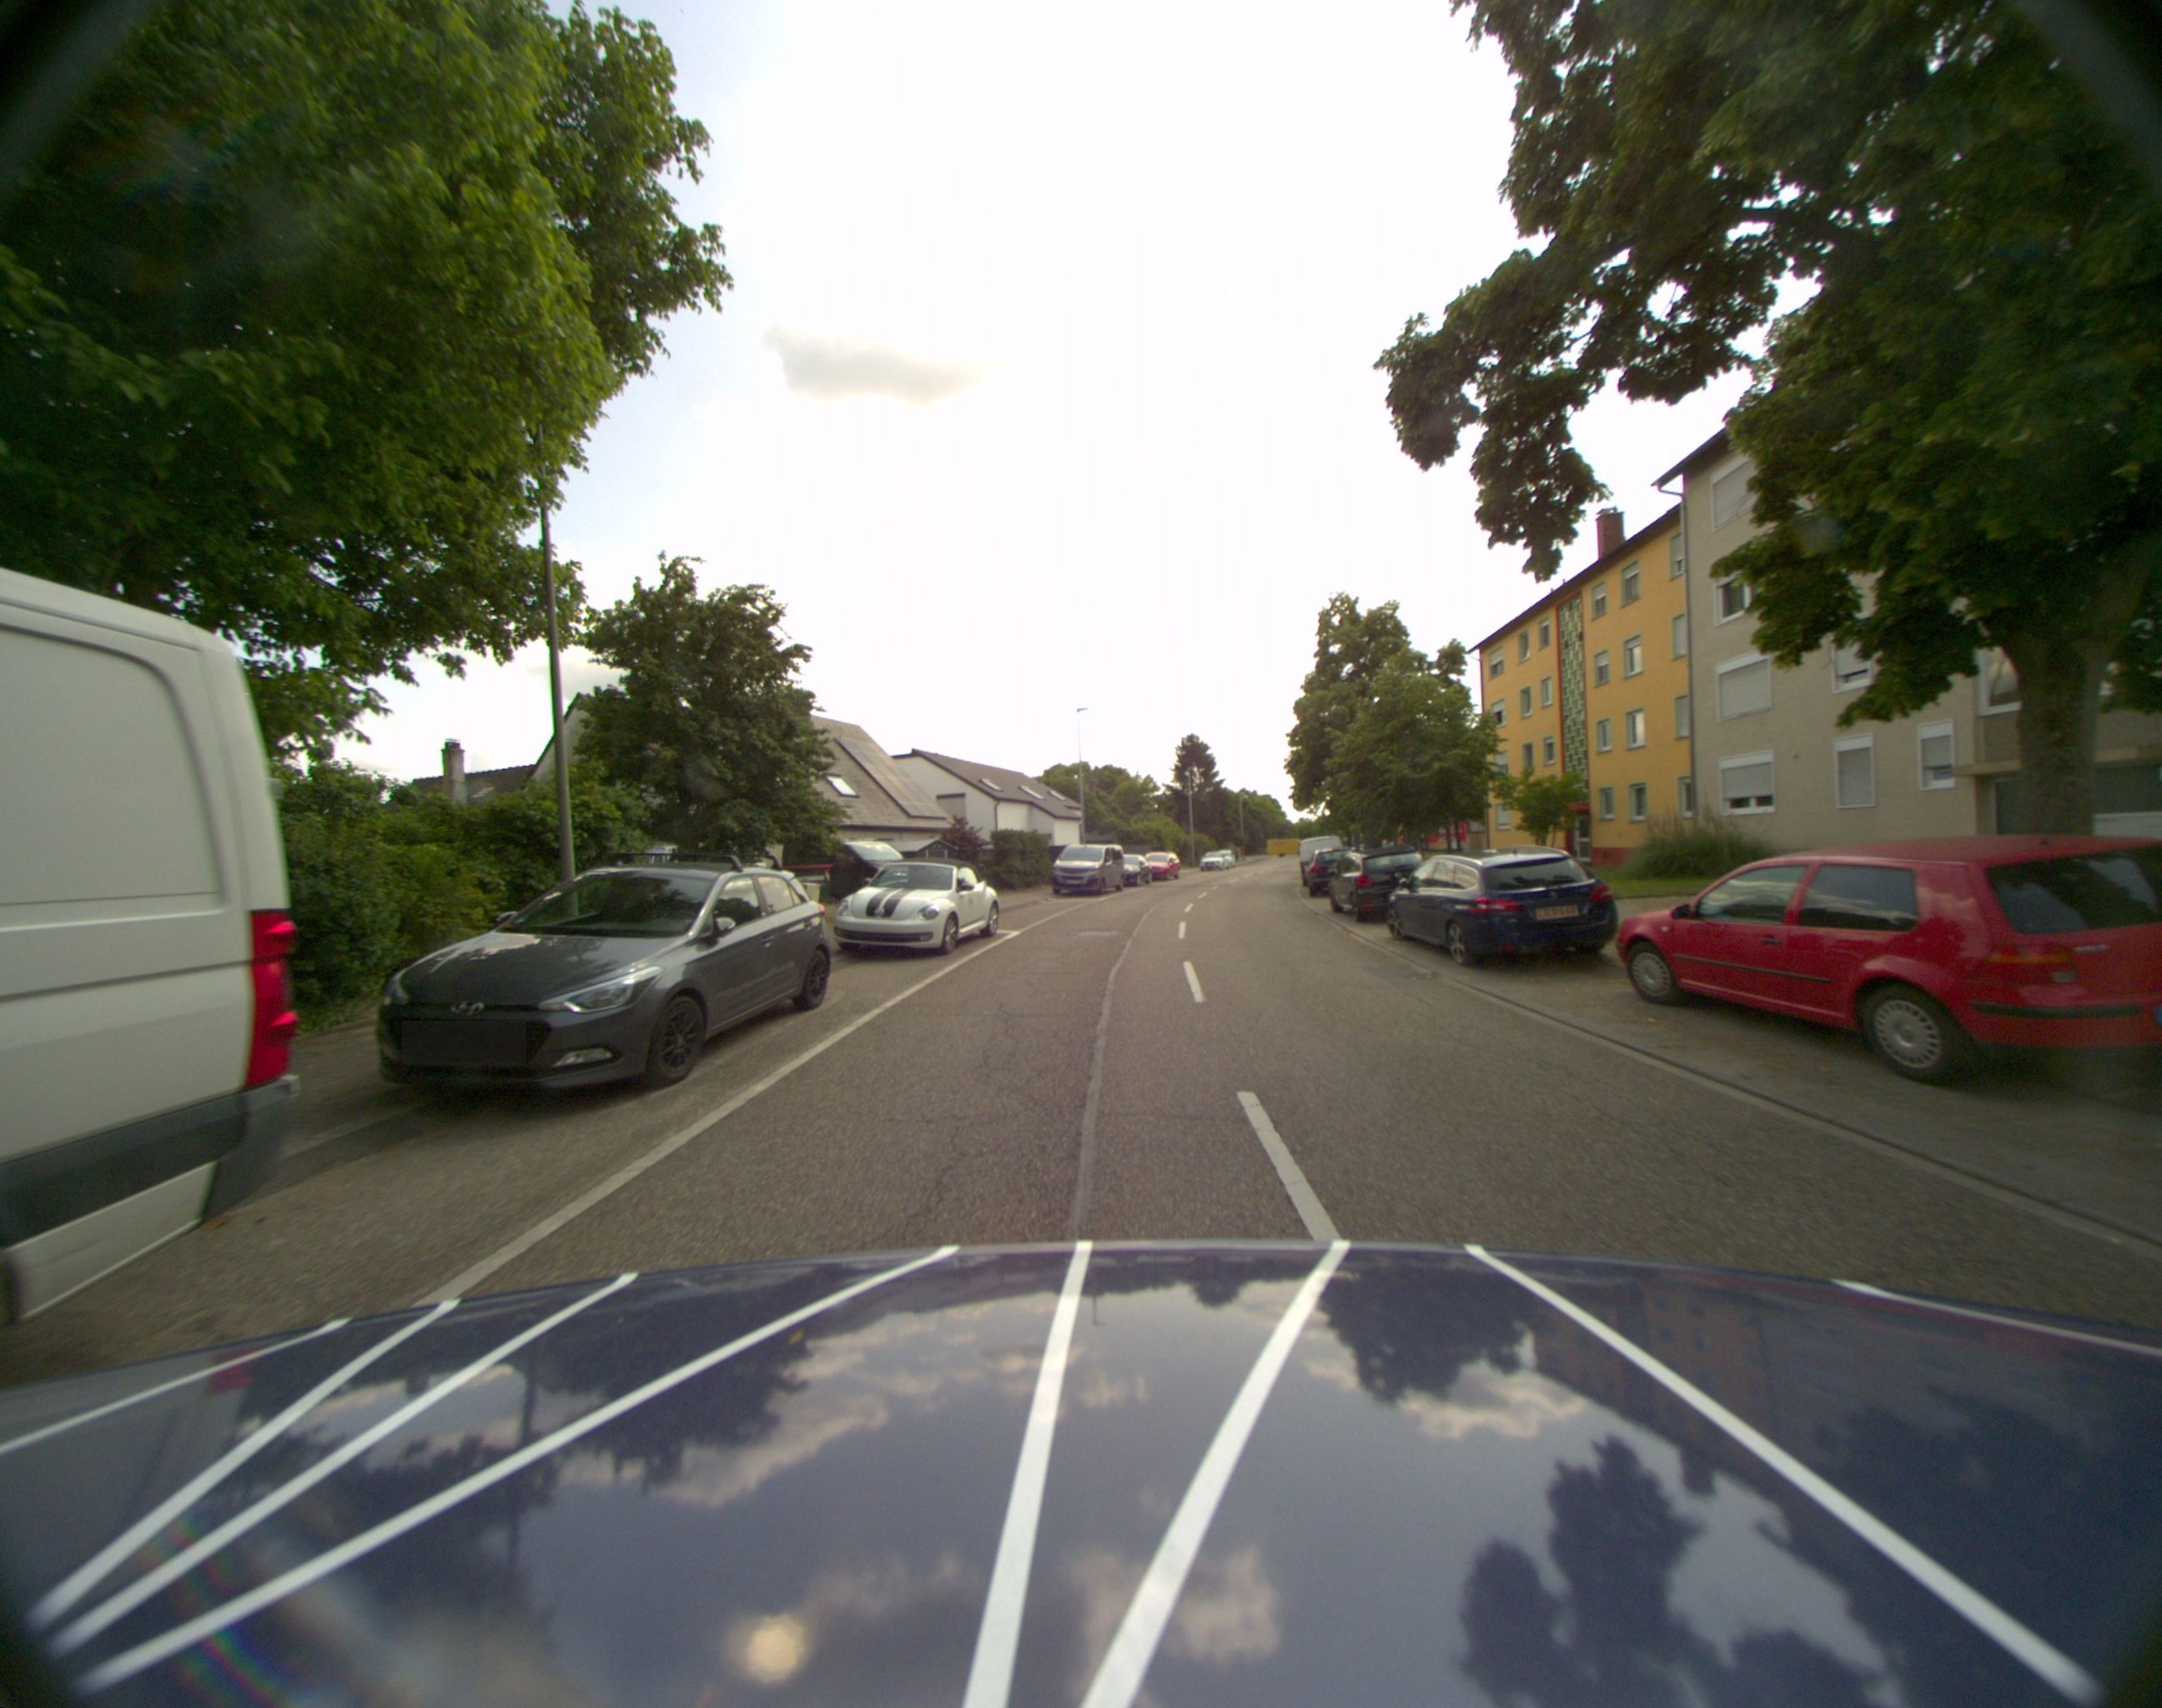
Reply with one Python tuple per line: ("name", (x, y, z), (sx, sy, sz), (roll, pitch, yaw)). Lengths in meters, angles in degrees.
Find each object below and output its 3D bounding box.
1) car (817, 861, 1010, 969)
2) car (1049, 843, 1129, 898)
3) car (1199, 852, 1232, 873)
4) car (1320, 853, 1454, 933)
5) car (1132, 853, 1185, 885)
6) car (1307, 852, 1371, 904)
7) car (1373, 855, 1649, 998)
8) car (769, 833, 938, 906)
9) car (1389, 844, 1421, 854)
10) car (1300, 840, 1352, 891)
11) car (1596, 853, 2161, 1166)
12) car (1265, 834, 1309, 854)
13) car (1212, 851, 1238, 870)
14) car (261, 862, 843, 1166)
("car", (-2.661, 0.918, 13.286), (1.743, 1.503, 4.461), (-2, 0, 9))
("car", (0.421, 0.553, 29.394), (1.844, 1.933, 4.881), (1, 1, 16))
("car", (10.349, 0.625, 58.189), (1.723, 1.477, 3.755), (-2, 0, 22))
("car", (6.660, 0.780, 16.981), (1.764, 1.480, 4.035), (-4, 0, 8))
("car", (4.344, 0.776, 41.872), (1.852, 1.570, 4.739), (-2, 0, 19))
("car", (8.509, 0.736, 25.329), (1.763, 1.480, 4.509), (-2, 0, 16))
("car", (5.854, 0.856, 11.097), (1.764, 1.480, 4.572), (-4, 1, 6))
("car", (-7.187, 0.507, 23.746), (5.343, 2.045, 2.004), (-2, 0, 33))
("car", (52.247, -0.769, 122.592), (4.529, 1.450, 1.730), (-2, 0, 8))
("car", (10.546, 0.455, 32.488), (1.881, 1.997, 5.330), (-1, 0, 20))
("car", (6.050, 0.777, 5.730), (1.840, 1.430, 4.093), (-4, 0, 7))
("car", (33.778, -1.577, 124.739), (6.513, 2.853, 2.497), (-3, 0, 6))
("car", (12.477, 0.518, 65.686), (1.583, 1.511, 3.760), (-2, 0, 19))
("car", (-3.537, 0.896, 6.200), (1.721, 1.576, 4.124), (-2, 0, 2))
